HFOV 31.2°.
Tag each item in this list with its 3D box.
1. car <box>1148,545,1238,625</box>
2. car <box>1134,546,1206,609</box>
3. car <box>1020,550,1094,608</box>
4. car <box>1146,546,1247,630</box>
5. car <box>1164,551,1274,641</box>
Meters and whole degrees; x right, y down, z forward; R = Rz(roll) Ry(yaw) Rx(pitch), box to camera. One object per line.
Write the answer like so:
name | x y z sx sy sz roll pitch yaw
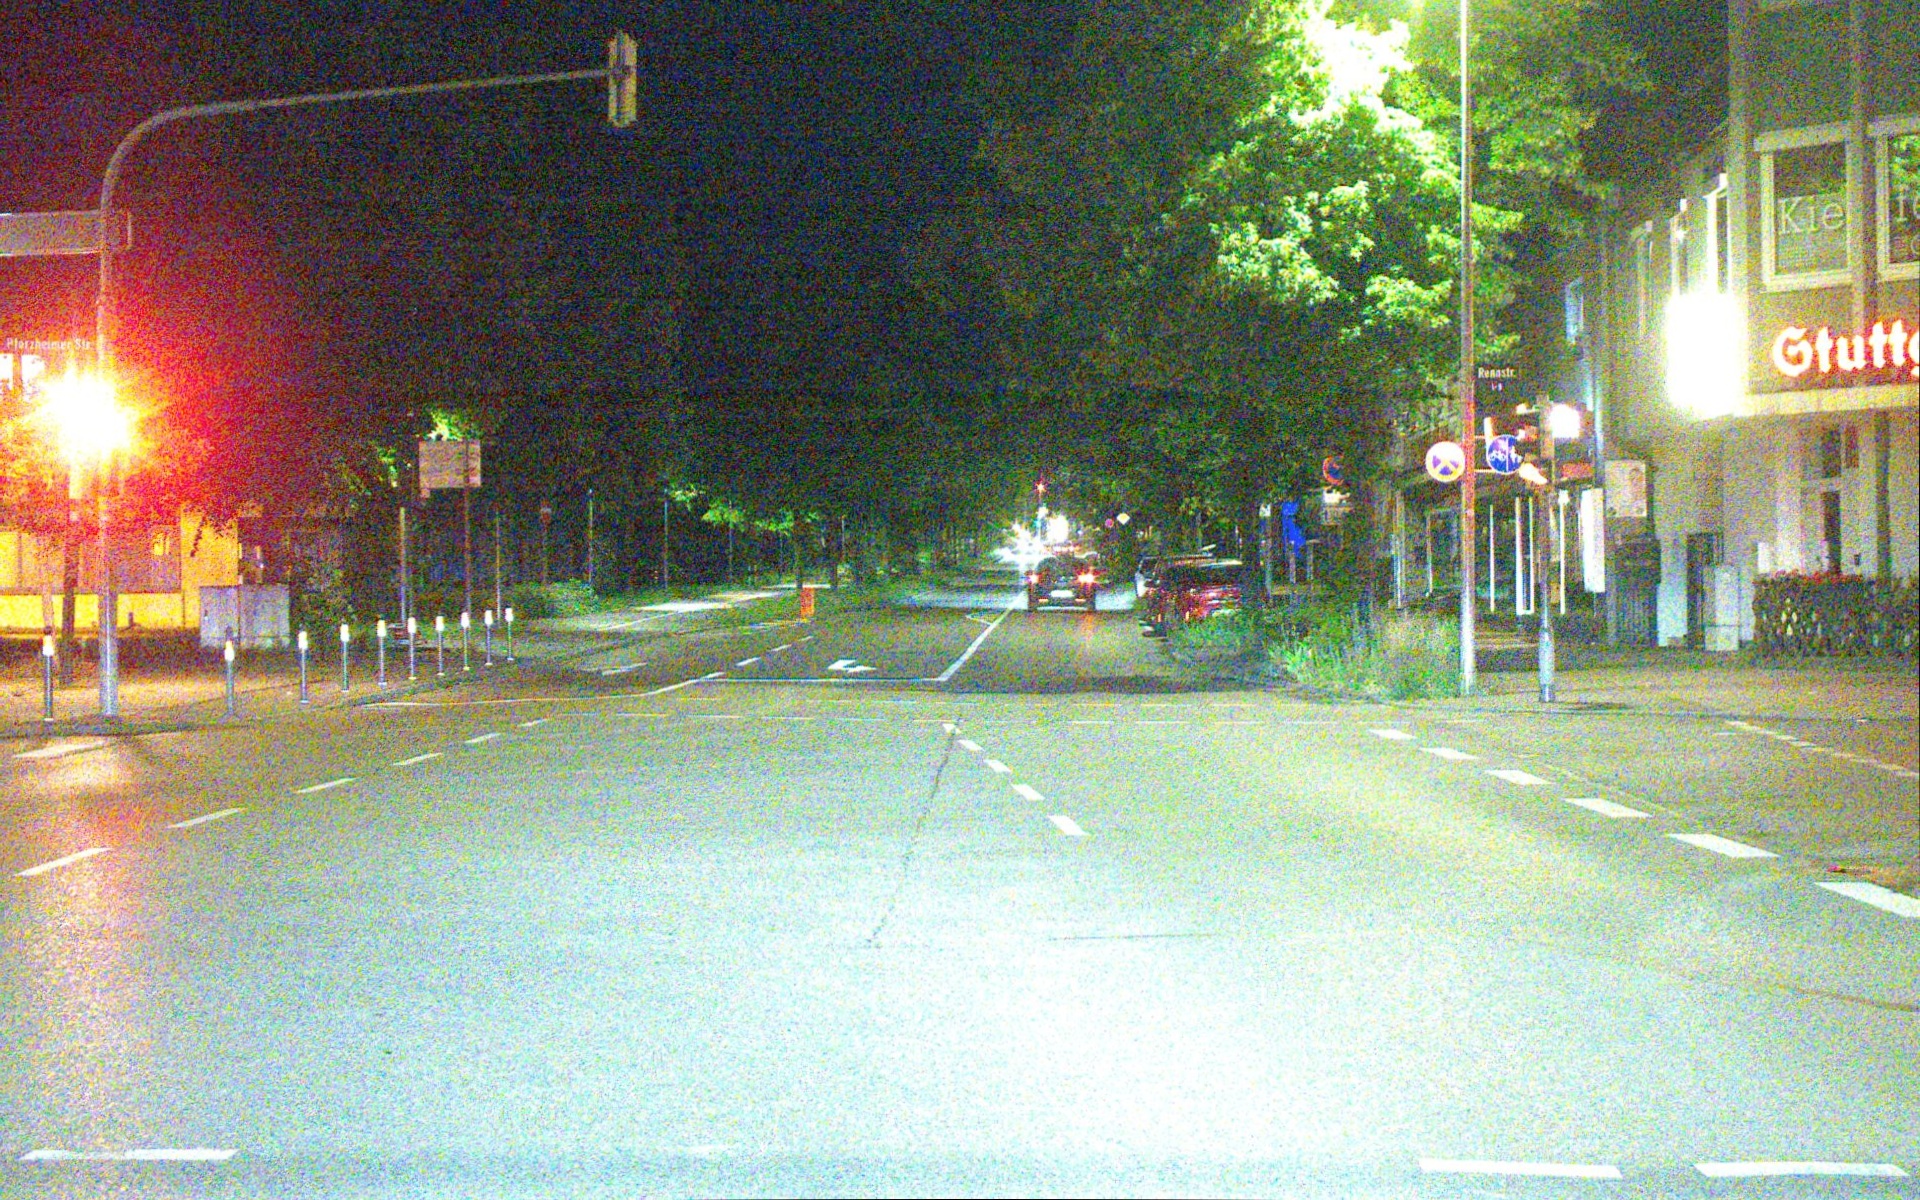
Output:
car | 5.165 -0.341 76.466 1.876 1.723 4.000 0 1 2
car | 5.749 -0.638 94.493 1.876 1.678 4.000 0 1 2
car | 2.564 -0.558 90.374 1.874 1.449 4.316 1 1 2
car | 4.706 -0.260 68.795 1.876 1.610 4.000 0 1 2
car | 4.757 -0.093 63.554 1.876 1.610 4.000 0 1 2
